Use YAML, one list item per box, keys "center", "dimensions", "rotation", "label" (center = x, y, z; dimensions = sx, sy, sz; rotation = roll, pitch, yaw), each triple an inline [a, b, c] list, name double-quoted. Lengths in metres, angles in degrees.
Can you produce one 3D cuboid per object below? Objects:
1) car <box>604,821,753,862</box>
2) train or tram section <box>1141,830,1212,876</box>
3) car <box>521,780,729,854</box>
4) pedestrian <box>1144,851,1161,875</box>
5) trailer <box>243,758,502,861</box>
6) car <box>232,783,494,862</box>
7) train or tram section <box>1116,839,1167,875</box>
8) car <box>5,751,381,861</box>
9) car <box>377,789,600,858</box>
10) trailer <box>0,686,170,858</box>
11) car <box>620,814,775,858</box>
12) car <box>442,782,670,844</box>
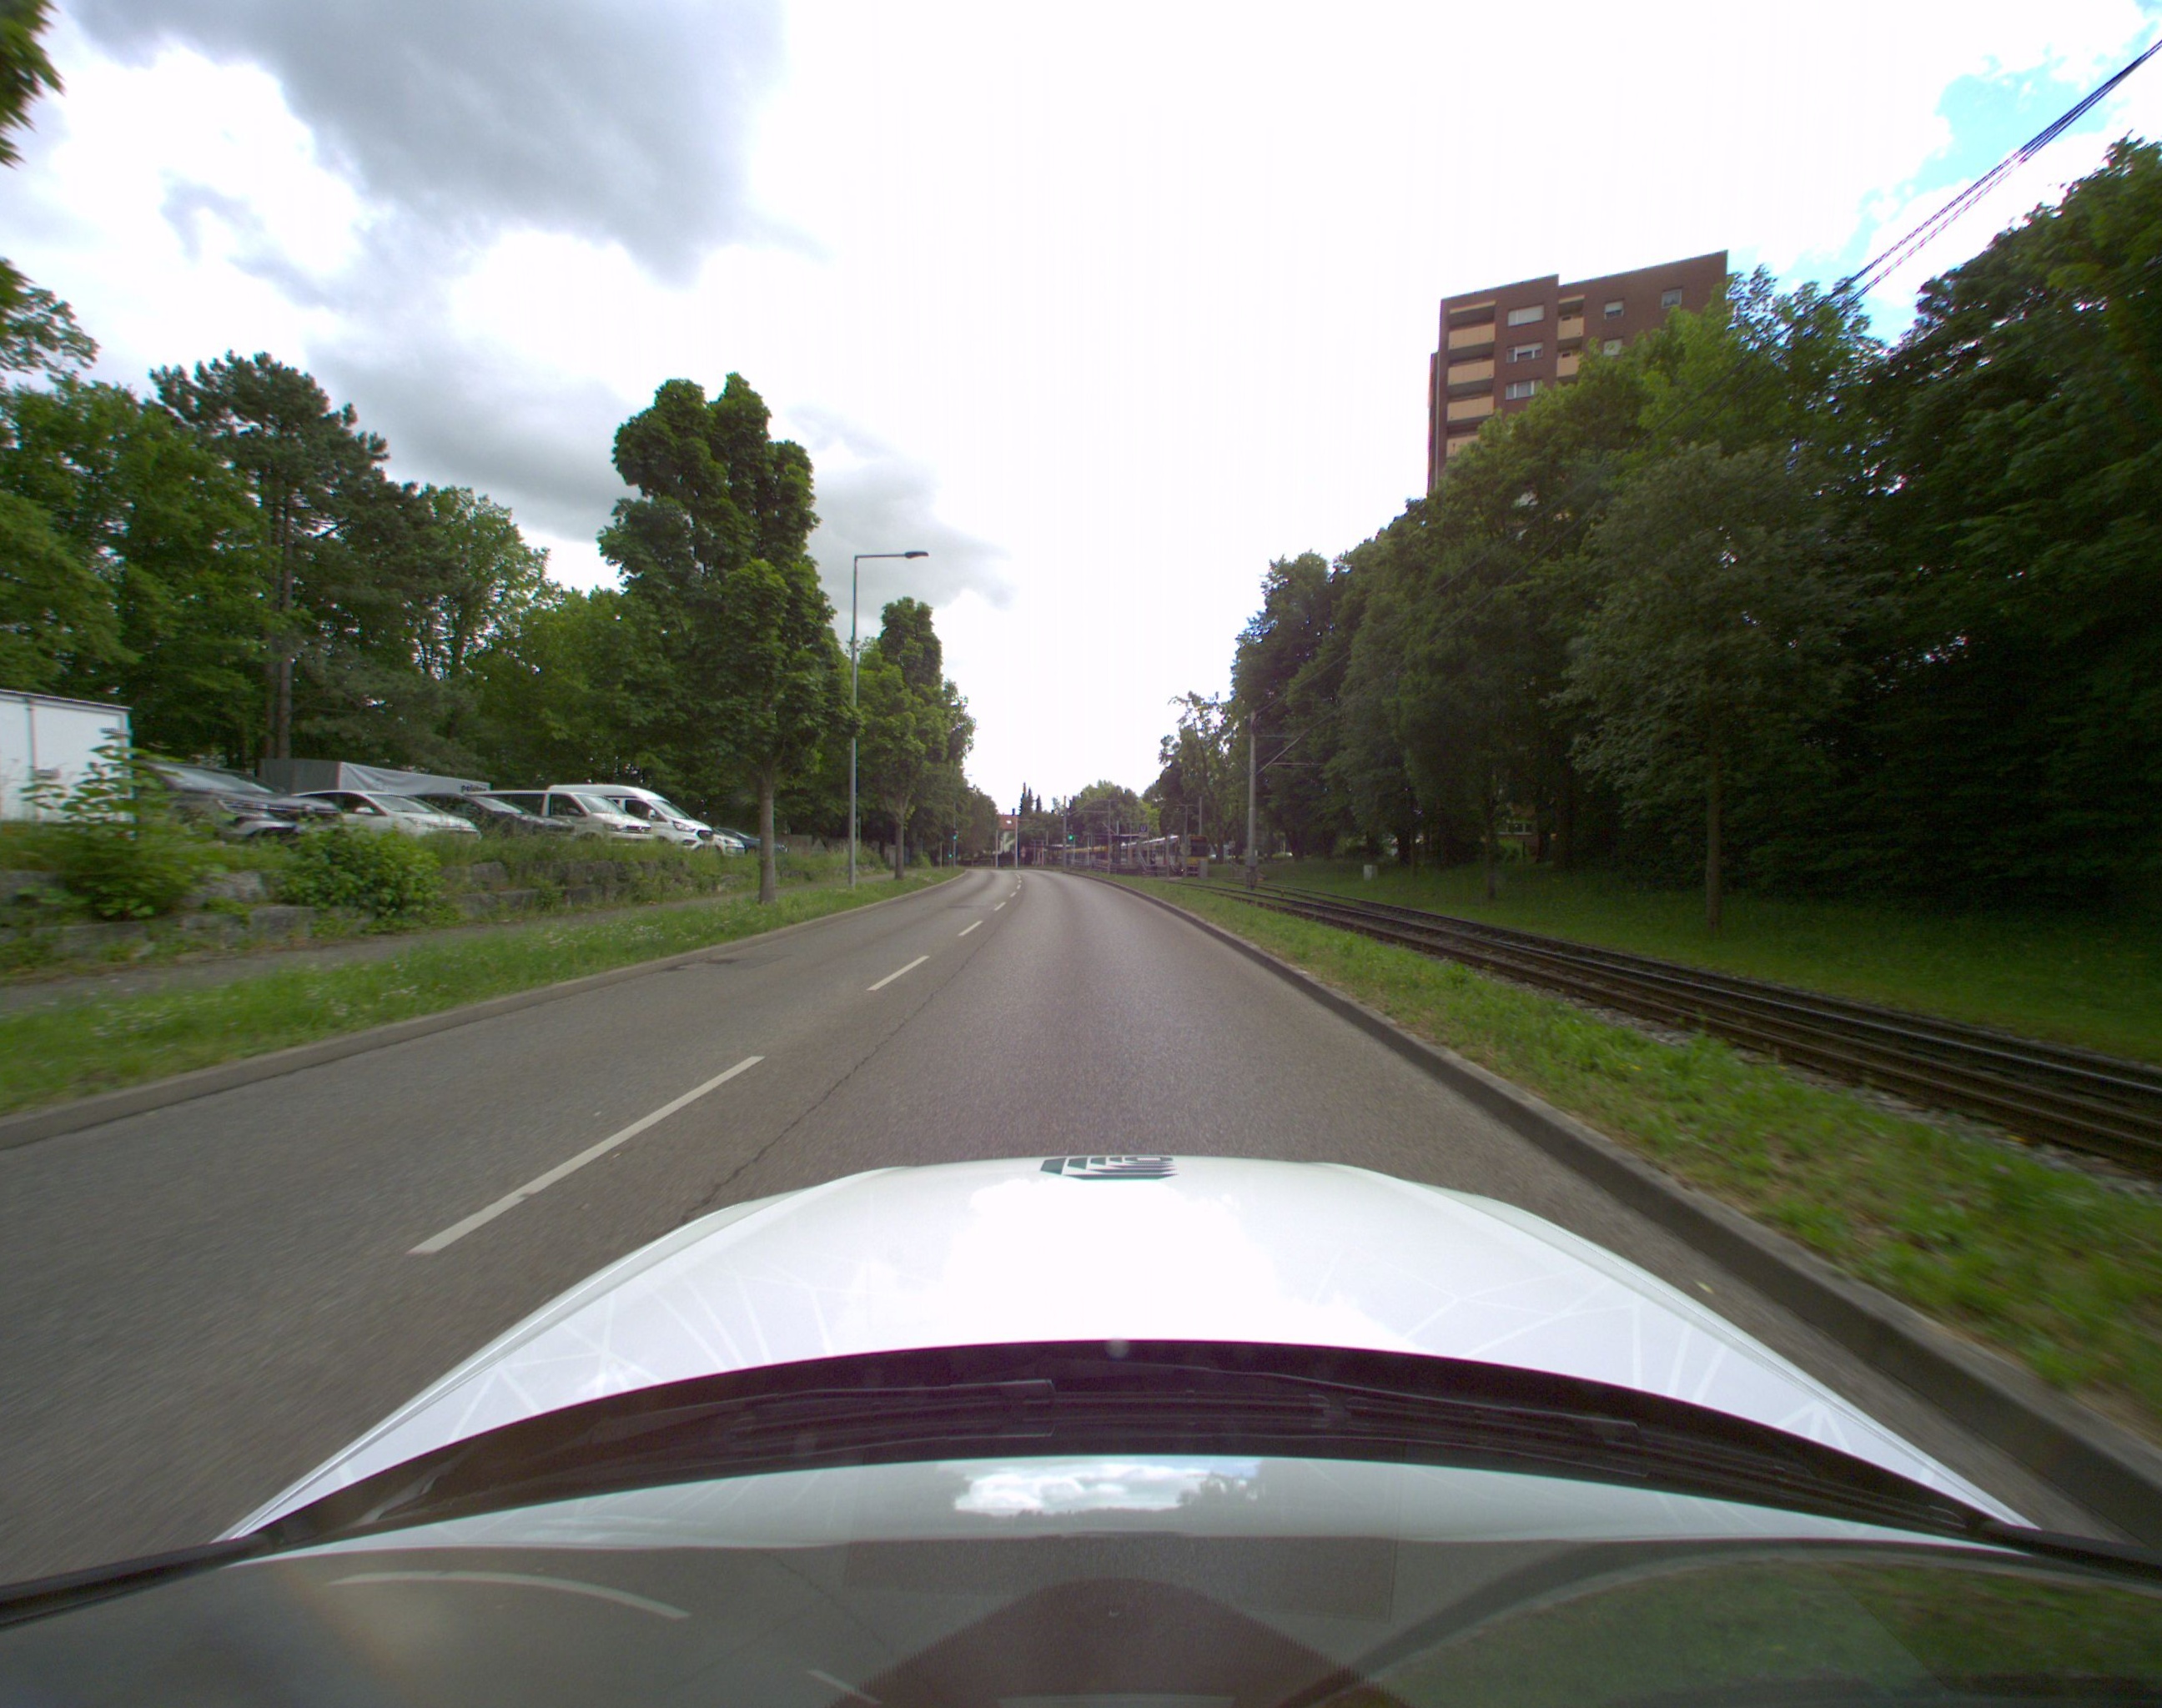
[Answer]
- center: [-13.979, -0.433, 28.432]
  dimensions: [4.363, 1.316, 1.563]
  rotation: [1, 0, 0]
  label: "car"
- center: [8.564, 0.067, 76.430]
  dimensions: [2.809, 3.737, 18.494]
  rotation: [1, -1, -5]
  label: "train or tram section"
- center: [-14.045, -1.108, 25.343]
  dimensions: [5.139, 2.106, 2.214]
  rotation: [1, 0, 0]
  label: "car"
- center: [5.353, 0.662, 60.943]
  dimensions: [0.986, 1.758, 0.726]
  rotation: [1, -1, -16]
  label: "pedestrian"
- center: [-24.529, -1.356, 28.874]
  dimensions: [2.639, 3.074, 7.196]
  rotation: [1, -1, 1]
  label: "trailer"
- center: [-14.955, -0.636, 17.093]
  dimensions: [4.016, 1.511, 1.783]
  rotation: [1, 0, 4]
  label: "car"
- center: [6.777, 0.526, 95.145]
  dimensions: [2.809, 3.799, 18.894]
  rotation: [1, -1, -5]
  label: "train or tram section"
- center: [-14.144, -0.731, 13.150]
  dimensions: [4.016, 1.584, 2.003]
  rotation: [1, 0, 4]
  label: "car"
- center: [-14.418, -0.720, 19.974]
  dimensions: [4.016, 1.548, 2.003]
  rotation: [1, 0, 4]
  label: "car"
- center: [-14.467, -0.980, 10.651]
  dimensions: [3.350, 2.058, 1.680]
  rotation: [0, 0, 4]
  label: "trailer"
- center: [-15.004, -0.689, 32.016]
  dimensions: [5.139, 1.561, 1.886]
  rotation: [1, 0, 0]
  label: "car"
- center: [-14.402, -1.097, 22.532]
  dimensions: [4.971, 1.548, 2.100]
  rotation: [1, 0, 4]
  label: "car"
